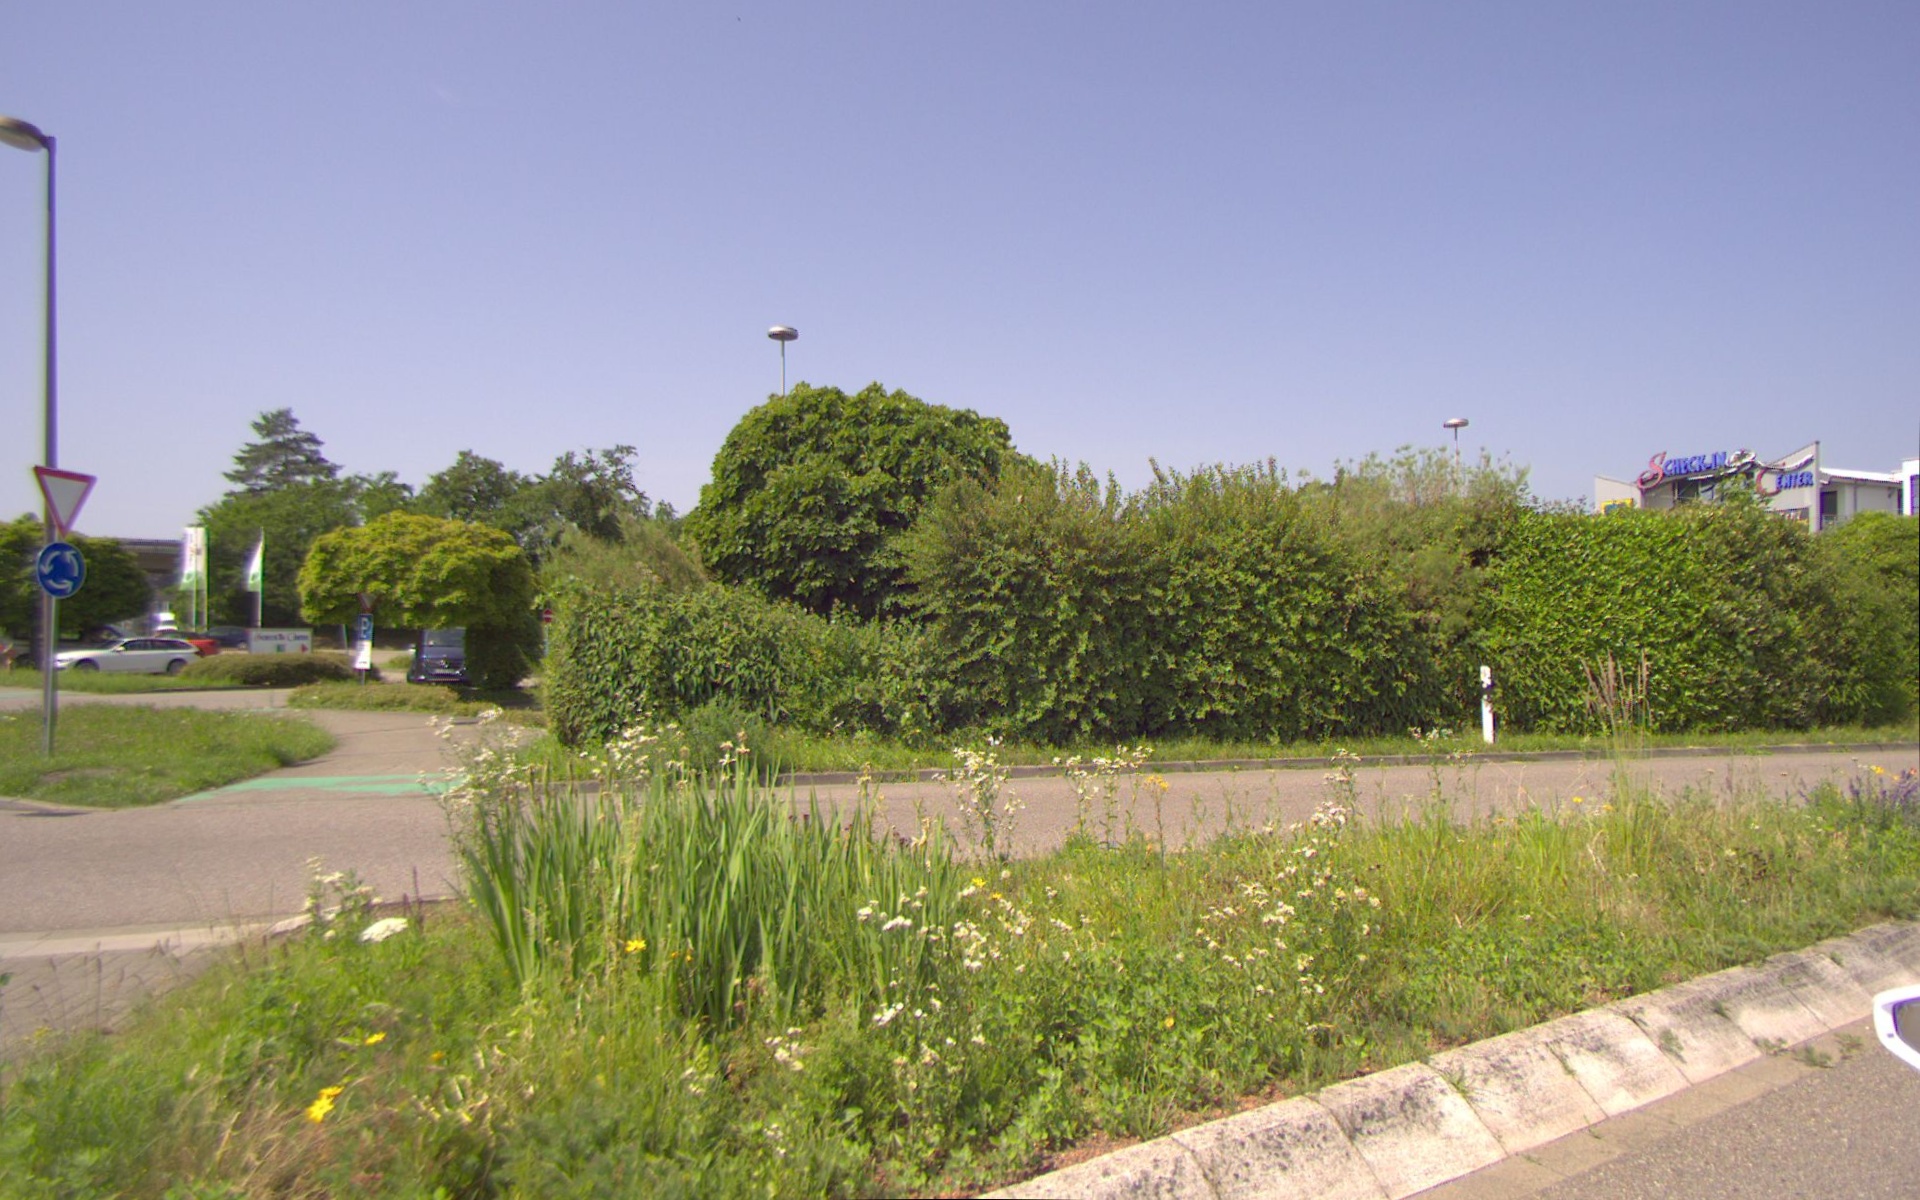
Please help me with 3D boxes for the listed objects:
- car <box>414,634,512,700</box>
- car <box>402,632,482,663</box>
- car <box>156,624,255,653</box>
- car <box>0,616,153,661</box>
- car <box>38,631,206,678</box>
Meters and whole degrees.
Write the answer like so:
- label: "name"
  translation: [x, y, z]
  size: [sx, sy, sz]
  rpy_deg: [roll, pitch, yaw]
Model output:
- label: "car"
  translation: [-15.580, 2.050, 31.728]
  size: [1.967, 1.817, 3.987]
  rpy_deg: [2, -1, -15]
- label: "car"
  translation: [-25.652, 2.346, 49.839]
  size: [3.429, 1.398, 1.593]
  rpy_deg: [3, -1, -26]
- label: "car"
  translation: [-47.009, 2.417, 62.713]
  size: [4.579, 1.674, 2.015]
  rpy_deg: [2, 0, -27]
- label: "car"
  translation: [-34.266, 1.515, 38.927]
  size: [4.355, 1.582, 1.861]
  rpy_deg: [3, -1, -30]
- label: "car"
  translation: [-30.370, 1.933, 36.613]
  size: [1.554, 1.517, 4.568]
  rpy_deg: [2, -1, 16]
